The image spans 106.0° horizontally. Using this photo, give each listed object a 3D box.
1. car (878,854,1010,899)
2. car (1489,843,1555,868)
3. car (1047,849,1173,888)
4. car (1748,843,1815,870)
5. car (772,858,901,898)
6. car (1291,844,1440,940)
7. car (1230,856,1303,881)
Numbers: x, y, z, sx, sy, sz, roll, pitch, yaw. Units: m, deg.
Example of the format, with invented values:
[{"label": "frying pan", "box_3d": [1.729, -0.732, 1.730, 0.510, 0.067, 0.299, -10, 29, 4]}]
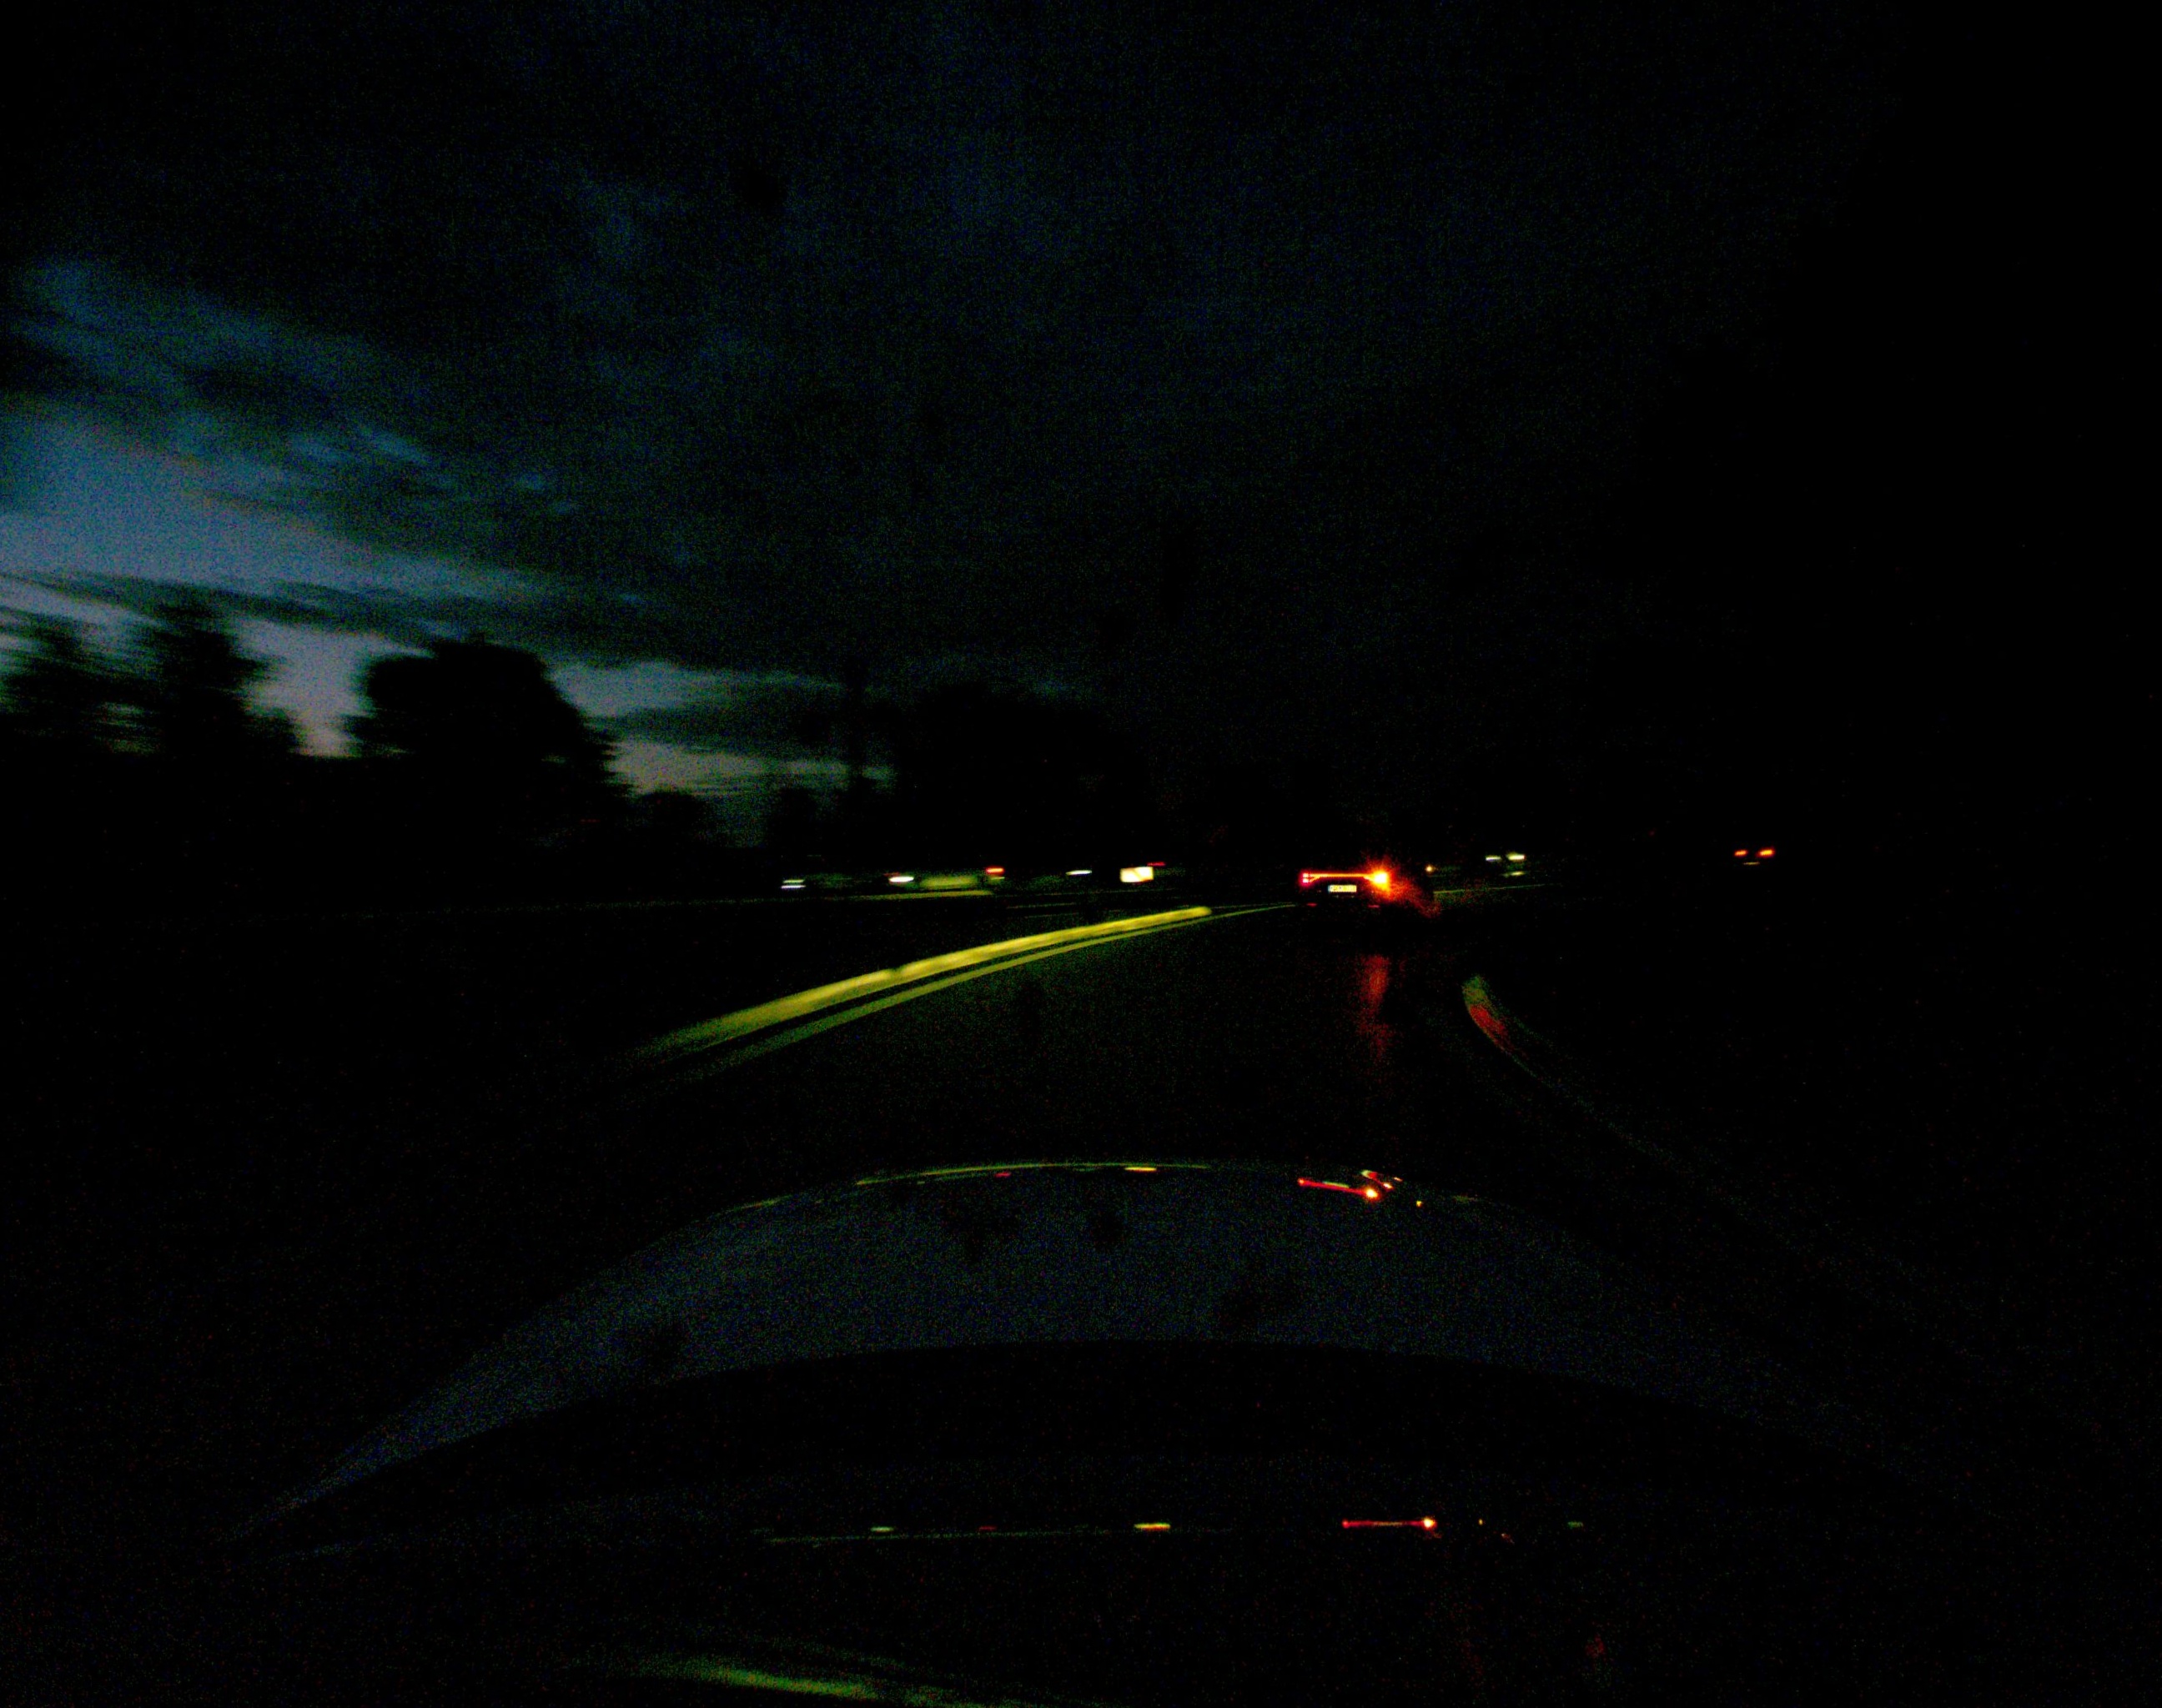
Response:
[{"label": "car", "box_3d": [-5.469, 0.884, 32.879, 4.897, 1.682, 1.977, 0, -2, -39]}, {"label": "car", "box_3d": [29.831, 0.077, 55.091, 4.843, 1.570, 1.978, -1, -1, -36]}, {"label": "car", "box_3d": [1.242, 0.572, 33.683, 5.070, 1.453, 1.978, -1, -1, -36]}, {"label": "car", "box_3d": [39.742, 0.141, 46.161, 4.450, 1.453, 1.740, -1, 0, -34]}, {"label": "car", "box_3d": [-10.166, 0.958, 33.992, 4.757, 1.453, 1.977, -2, 0, -38]}, {"label": "car", "box_3d": [5.898, 0.636, 16.519, 1.883, 1.619, 4.585, 1, 1, 32]}, {"label": "car", "box_3d": [11.965, 0.921, 52.348, 4.756, 1.453, 1.978, -1, -1, -37]}]
